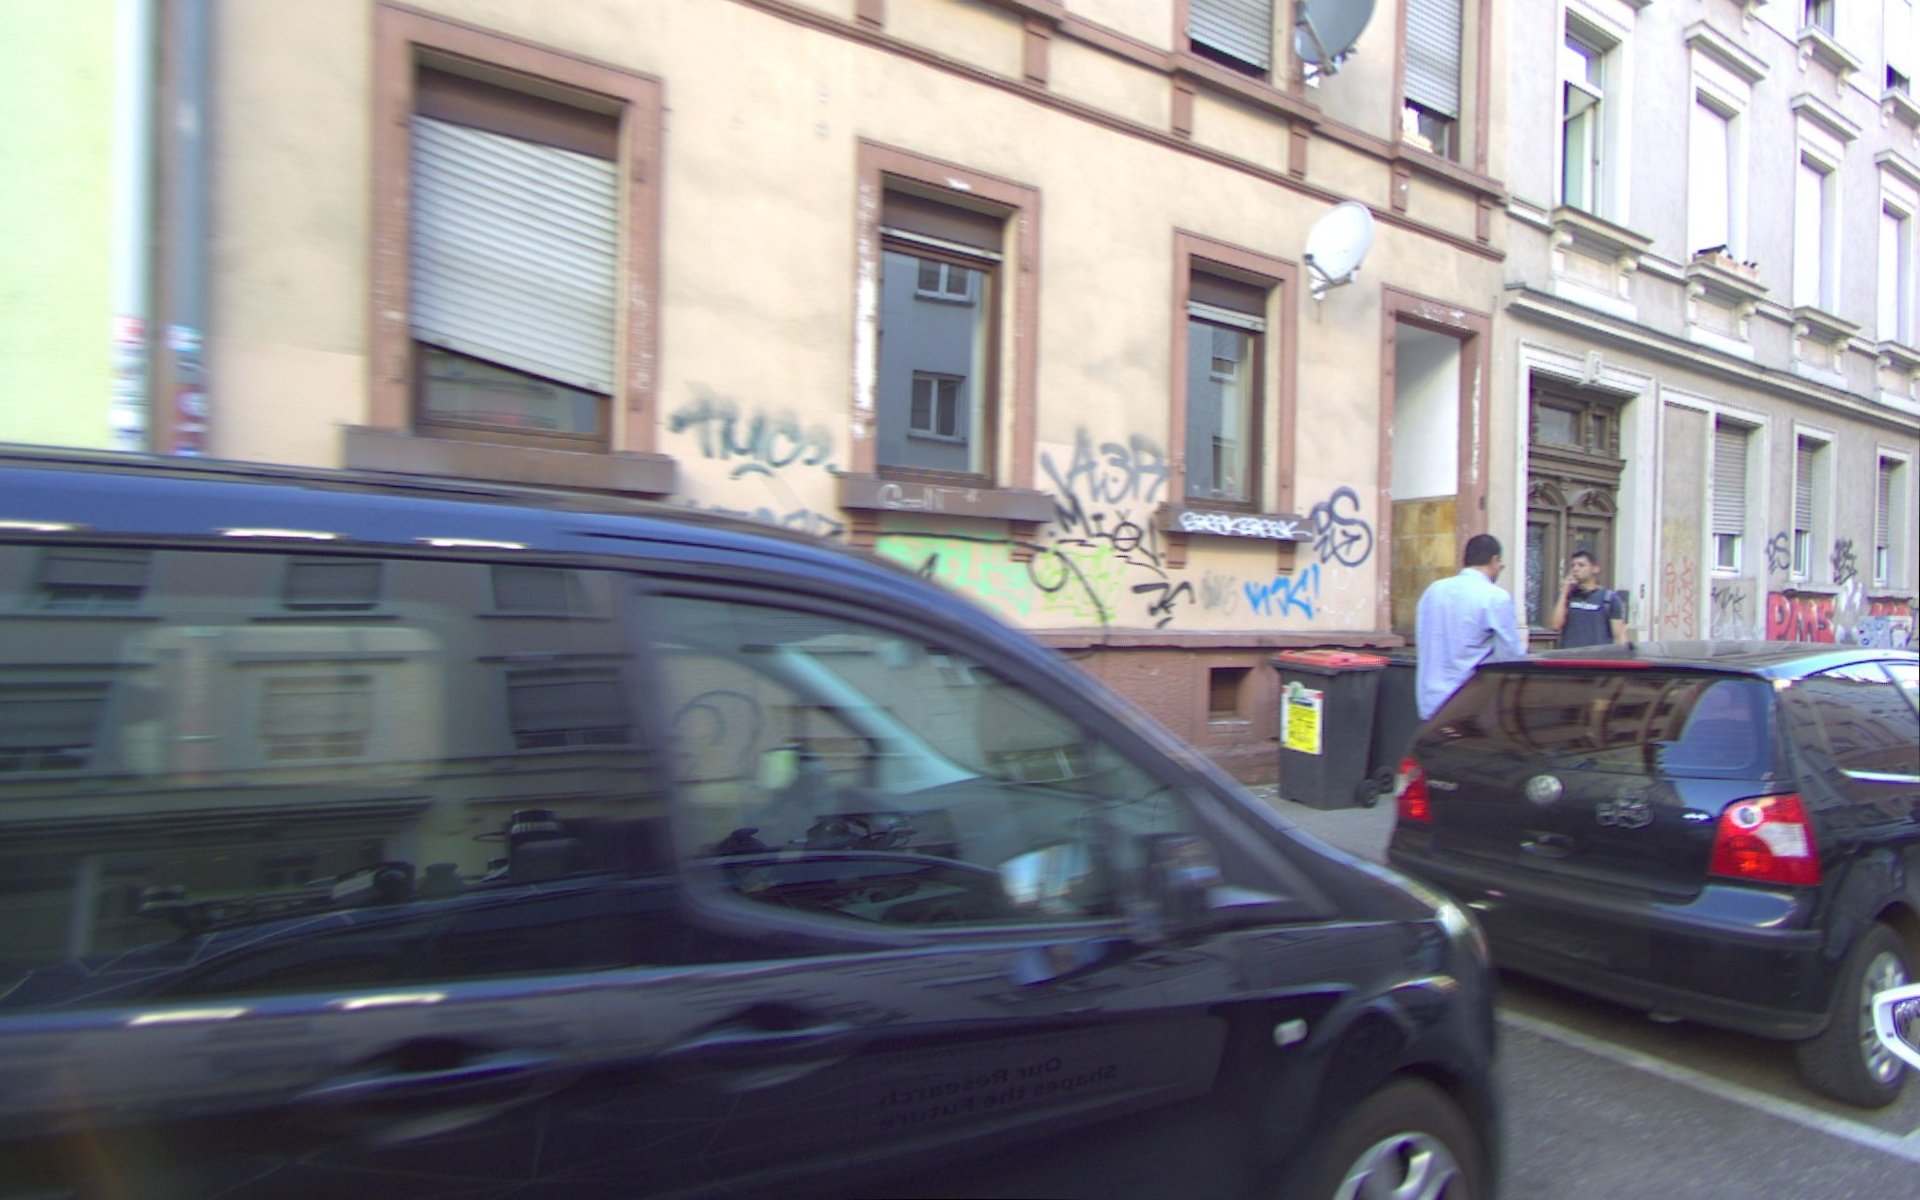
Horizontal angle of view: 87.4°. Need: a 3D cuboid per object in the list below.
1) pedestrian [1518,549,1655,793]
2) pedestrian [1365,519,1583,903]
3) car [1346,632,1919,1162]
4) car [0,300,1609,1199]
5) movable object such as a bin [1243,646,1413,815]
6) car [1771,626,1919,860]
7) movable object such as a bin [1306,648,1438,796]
[{"bbox_3d":[5.104,0.545,8.192,0.745,1.883,0.607,1,2,-31],"label":"pedestrian"},{"bbox_3d":[2.684,0.529,5.269,0.745,1.842,0.648,1,2,-30],"label":"pedestrian"},{"bbox_3d":[3.570,0.889,4.431,3.610,1.459,1.584,1,-1,-30],"label":"car"},{"bbox_3d":[-0.614,0.635,2.132,3.954,1.720,1.792,1,-3,-31],"label":"car"},{"bbox_3d":[2.614,0.892,7.189,0.747,1.039,0.786,1,4,-28],"label":"movable object such as a bin"},{"bbox_3d":[7.685,0.928,7.143,3.840,1.449,1.667,1,-1,-29],"label":"car"},{"bbox_3d":[3.171,0.907,7.759,0.584,1.039,0.727,1,0,-30],"label":"movable object such as a bin"}]
